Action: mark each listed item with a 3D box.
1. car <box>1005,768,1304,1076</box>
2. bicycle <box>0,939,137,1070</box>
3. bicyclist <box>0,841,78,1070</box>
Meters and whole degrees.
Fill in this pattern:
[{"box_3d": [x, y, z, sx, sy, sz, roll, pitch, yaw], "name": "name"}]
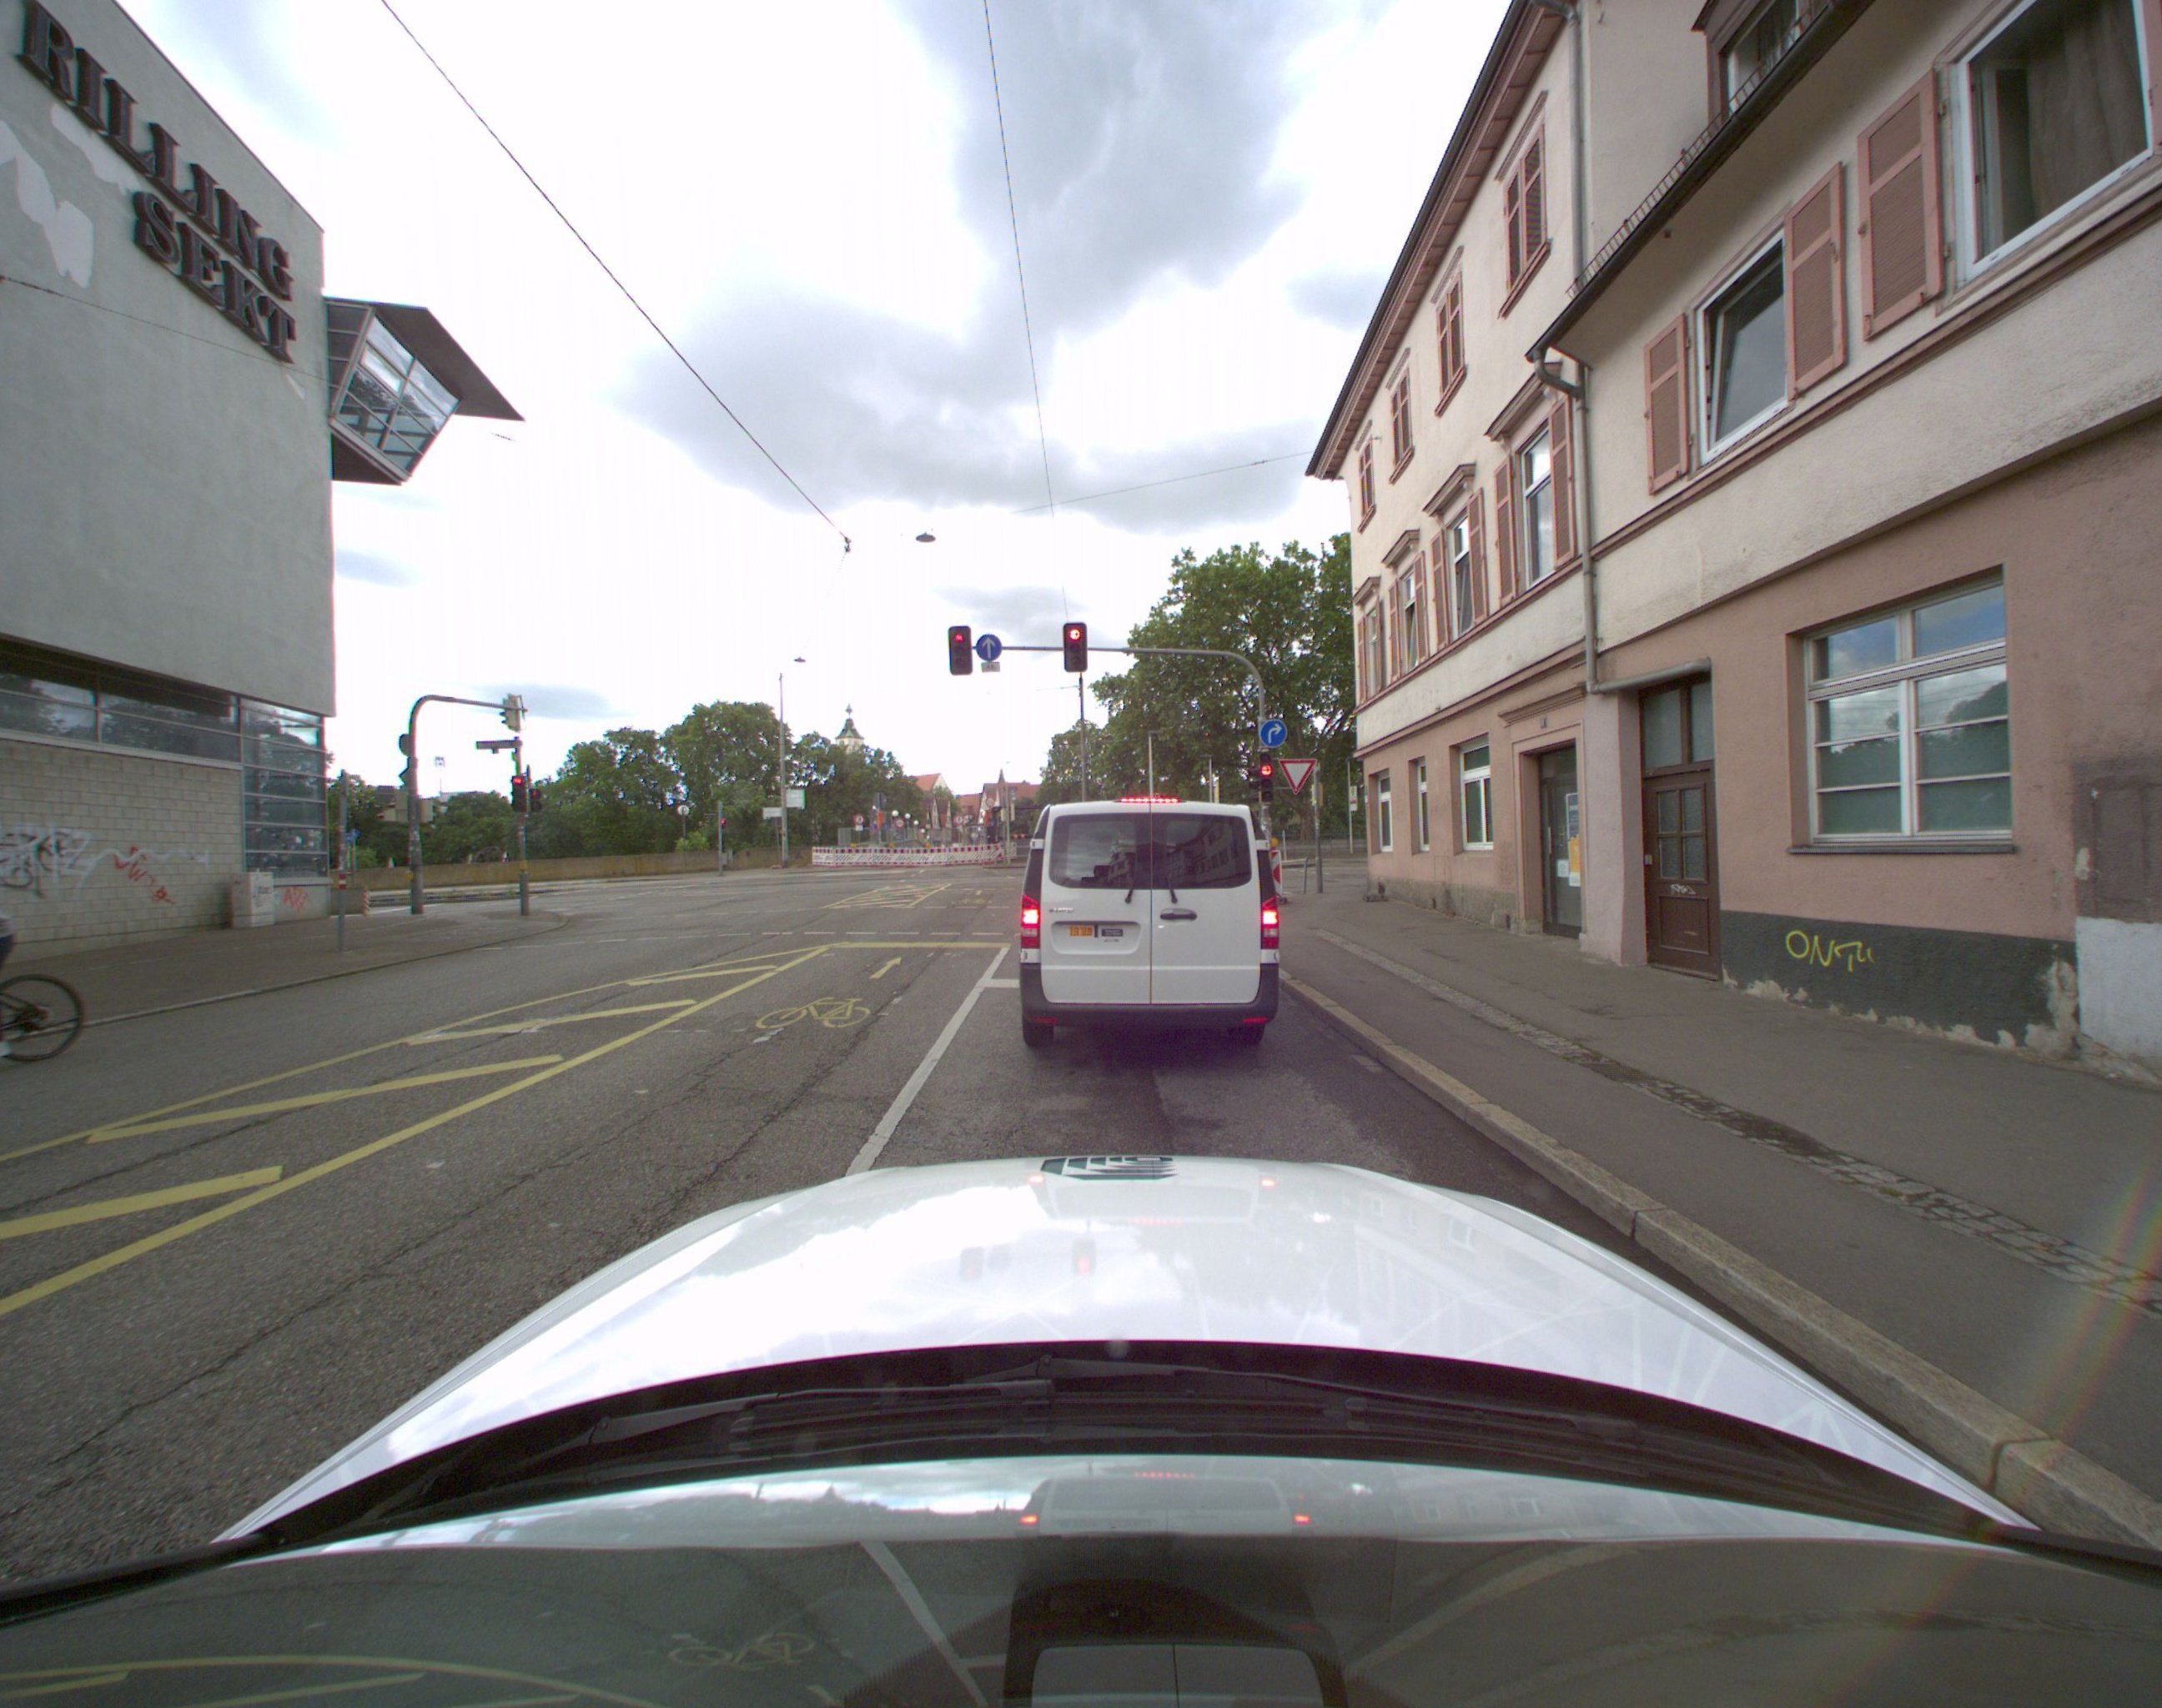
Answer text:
[{"box_3d": [0.557, 0.394, 7.684, 1.943, 2.013, 4.700, 0, 1, 2], "name": "car"}, {"box_3d": [-8.405, 1.188, 6.062, 0.539, 0.892, 1.880, -2, 0, 0], "name": "bicycle"}, {"box_3d": [-8.416, 0.762, 6.108, 0.721, 1.701, 0.811, -2, 0, 0], "name": "bicyclist"}]
